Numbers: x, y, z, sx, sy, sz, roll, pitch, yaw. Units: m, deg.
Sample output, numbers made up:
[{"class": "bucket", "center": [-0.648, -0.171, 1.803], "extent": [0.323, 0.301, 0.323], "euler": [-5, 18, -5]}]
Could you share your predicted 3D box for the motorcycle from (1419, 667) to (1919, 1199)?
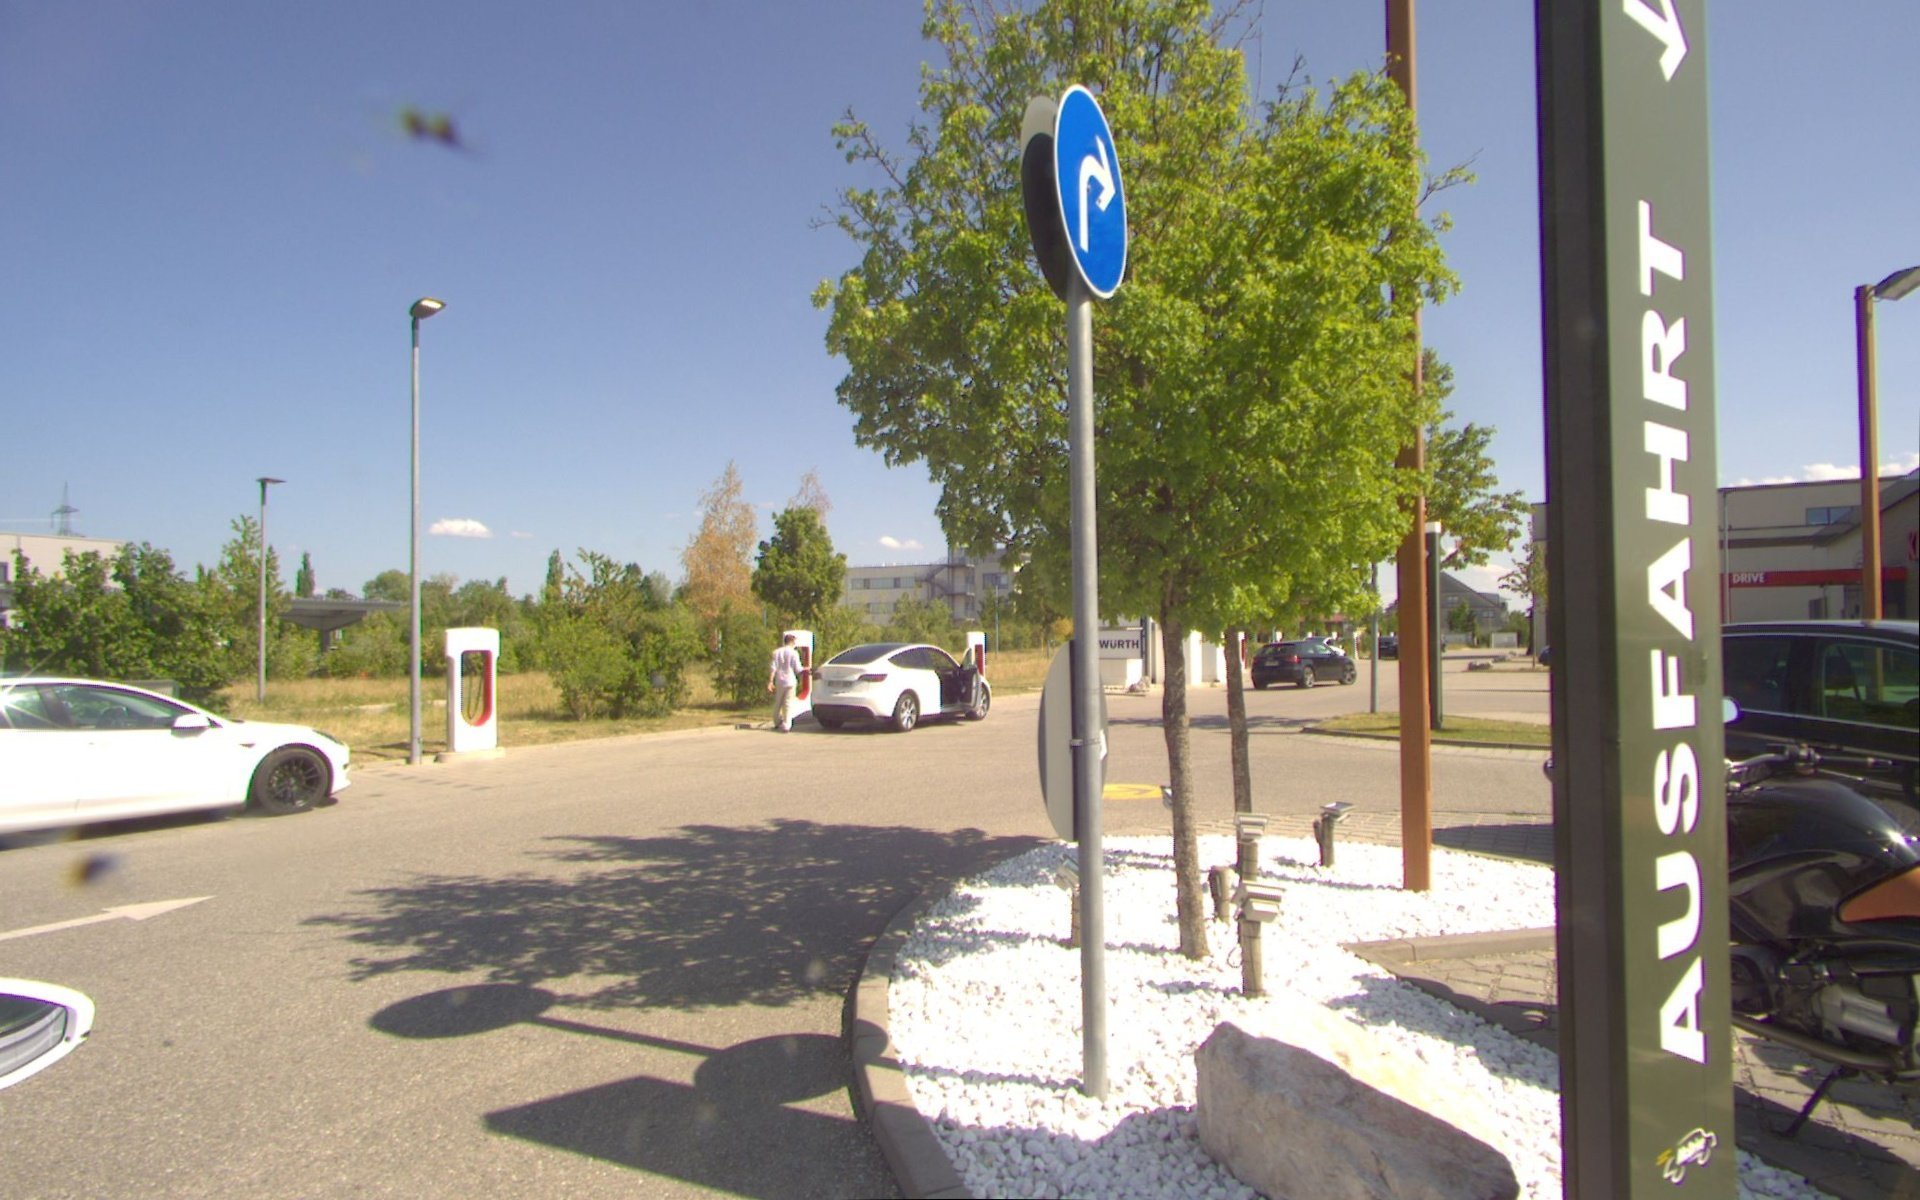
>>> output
[{"class": "motorcycle", "center": [2.508, 0.880, 2.749], "extent": [1.052, 1.267, 2.248], "euler": [1, -1, -16]}]

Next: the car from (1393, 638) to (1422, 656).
[{"class": "car", "center": [36.106, 3.799, 80.687], "extent": [1.722, 1.404, 3.983], "euler": [-1, -2, 30]}]

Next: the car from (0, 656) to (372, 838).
[{"class": "car", "center": [-8.065, 1.243, 9.065], "extent": [1.796, 1.395, 4.428], "euler": [-2, -2, 31]}]

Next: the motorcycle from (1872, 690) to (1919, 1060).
[{"class": "motorcycle", "center": [3.958, 0.930, 2.673], "extent": [0.807, 1.247, 2.136], "euler": [1, -1, -19]}]

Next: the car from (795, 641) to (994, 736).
[{"class": "car", "center": [-1.159, 1.649, 19.939], "extent": [1.842, 1.620, 4.470], "euler": [-1, -2, 29]}]

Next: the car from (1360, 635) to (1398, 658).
[{"class": "car", "center": [29.243, 3.215, 69.860], "extent": [1.922, 1.588, 3.983], "euler": [-1, -2, 30]}]

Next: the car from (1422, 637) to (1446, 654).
[{"class": "car", "center": [45.279, 4.299, 95.542], "extent": [1.722, 1.588, 3.983], "euler": [-1, -2, 30]}]

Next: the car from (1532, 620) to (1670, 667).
[{"class": "car", "center": [24.418, 1.665, 38.300], "extent": [4.322, 1.707, 1.634], "euler": [-2, -2, 32]}]

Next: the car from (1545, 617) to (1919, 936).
[{"class": "car", "center": [5.534, 0.870, 5.353], "extent": [1.860, 1.556, 4.188], "euler": [0, -1, -11]}]

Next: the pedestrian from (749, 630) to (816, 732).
[{"class": "pedestrian", "center": [-3.275, 1.477, 18.565], "extent": [0.725, 1.823, 1.031], "euler": [0, -1, 29]}]

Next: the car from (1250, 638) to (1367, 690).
[{"class": "car", "center": [10.679, 1.901, 30.542], "extent": [4.174, 1.459, 1.682], "euler": [2, -3, -44]}]
